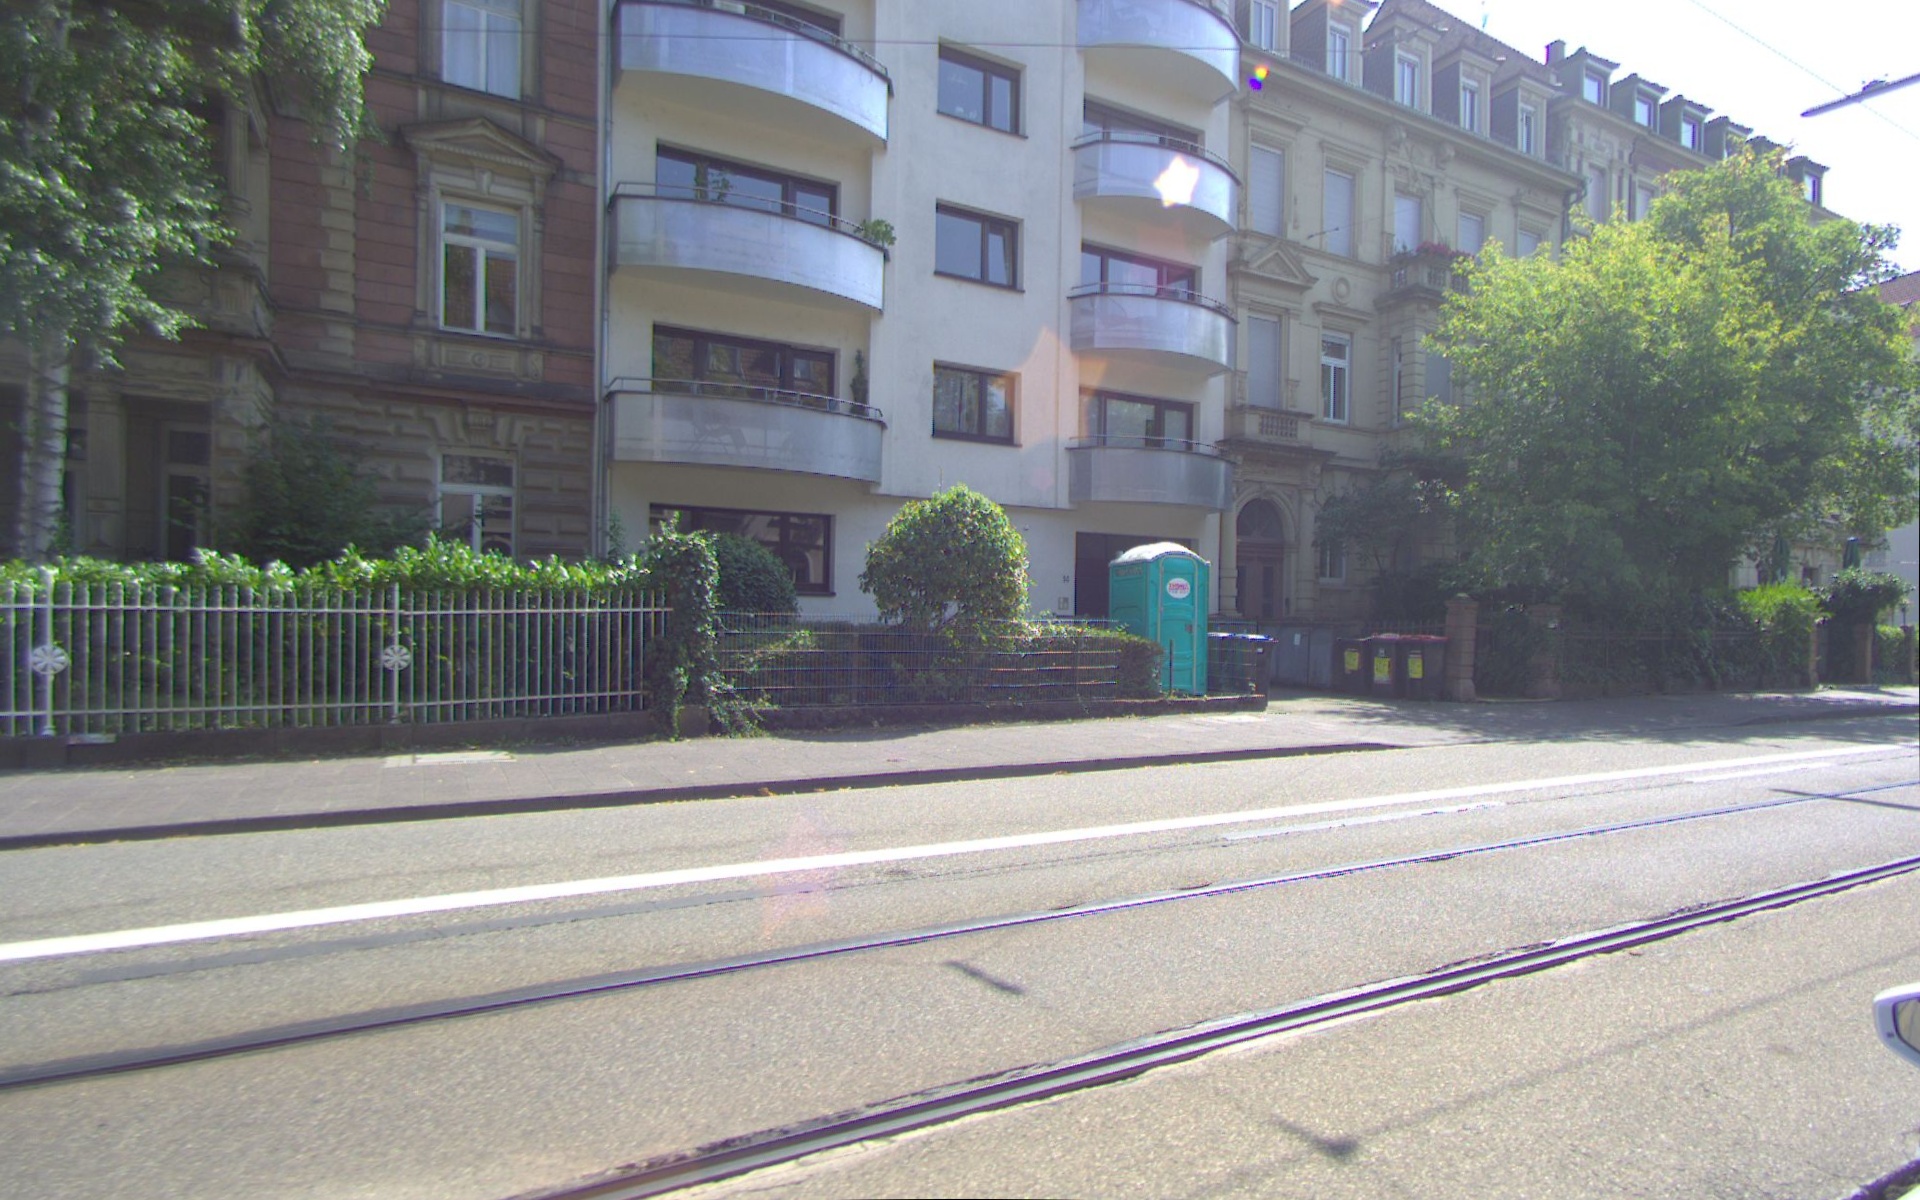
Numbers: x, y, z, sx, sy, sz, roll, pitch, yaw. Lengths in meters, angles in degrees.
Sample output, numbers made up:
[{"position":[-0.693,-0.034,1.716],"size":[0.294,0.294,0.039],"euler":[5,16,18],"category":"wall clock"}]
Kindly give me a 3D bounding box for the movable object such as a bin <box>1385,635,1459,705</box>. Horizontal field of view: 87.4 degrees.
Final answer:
[{"position":[7.743,1.163,16.859],"size":[0.792,1.090,0.784],"euler":[2,0,-25],"category":"movable object such as a bin"}]

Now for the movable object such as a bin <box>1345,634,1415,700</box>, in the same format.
[{"position":[7.337,1.157,17.563],"size":[0.792,1.090,0.784],"euler":[2,0,-25],"category":"movable object such as a bin"}]

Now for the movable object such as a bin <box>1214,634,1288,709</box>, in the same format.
[{"position":[4.505,1.094,15.557],"size":[0.746,1.090,0.783],"euler":[2,0,-30],"category":"movable object such as a bin"}]
